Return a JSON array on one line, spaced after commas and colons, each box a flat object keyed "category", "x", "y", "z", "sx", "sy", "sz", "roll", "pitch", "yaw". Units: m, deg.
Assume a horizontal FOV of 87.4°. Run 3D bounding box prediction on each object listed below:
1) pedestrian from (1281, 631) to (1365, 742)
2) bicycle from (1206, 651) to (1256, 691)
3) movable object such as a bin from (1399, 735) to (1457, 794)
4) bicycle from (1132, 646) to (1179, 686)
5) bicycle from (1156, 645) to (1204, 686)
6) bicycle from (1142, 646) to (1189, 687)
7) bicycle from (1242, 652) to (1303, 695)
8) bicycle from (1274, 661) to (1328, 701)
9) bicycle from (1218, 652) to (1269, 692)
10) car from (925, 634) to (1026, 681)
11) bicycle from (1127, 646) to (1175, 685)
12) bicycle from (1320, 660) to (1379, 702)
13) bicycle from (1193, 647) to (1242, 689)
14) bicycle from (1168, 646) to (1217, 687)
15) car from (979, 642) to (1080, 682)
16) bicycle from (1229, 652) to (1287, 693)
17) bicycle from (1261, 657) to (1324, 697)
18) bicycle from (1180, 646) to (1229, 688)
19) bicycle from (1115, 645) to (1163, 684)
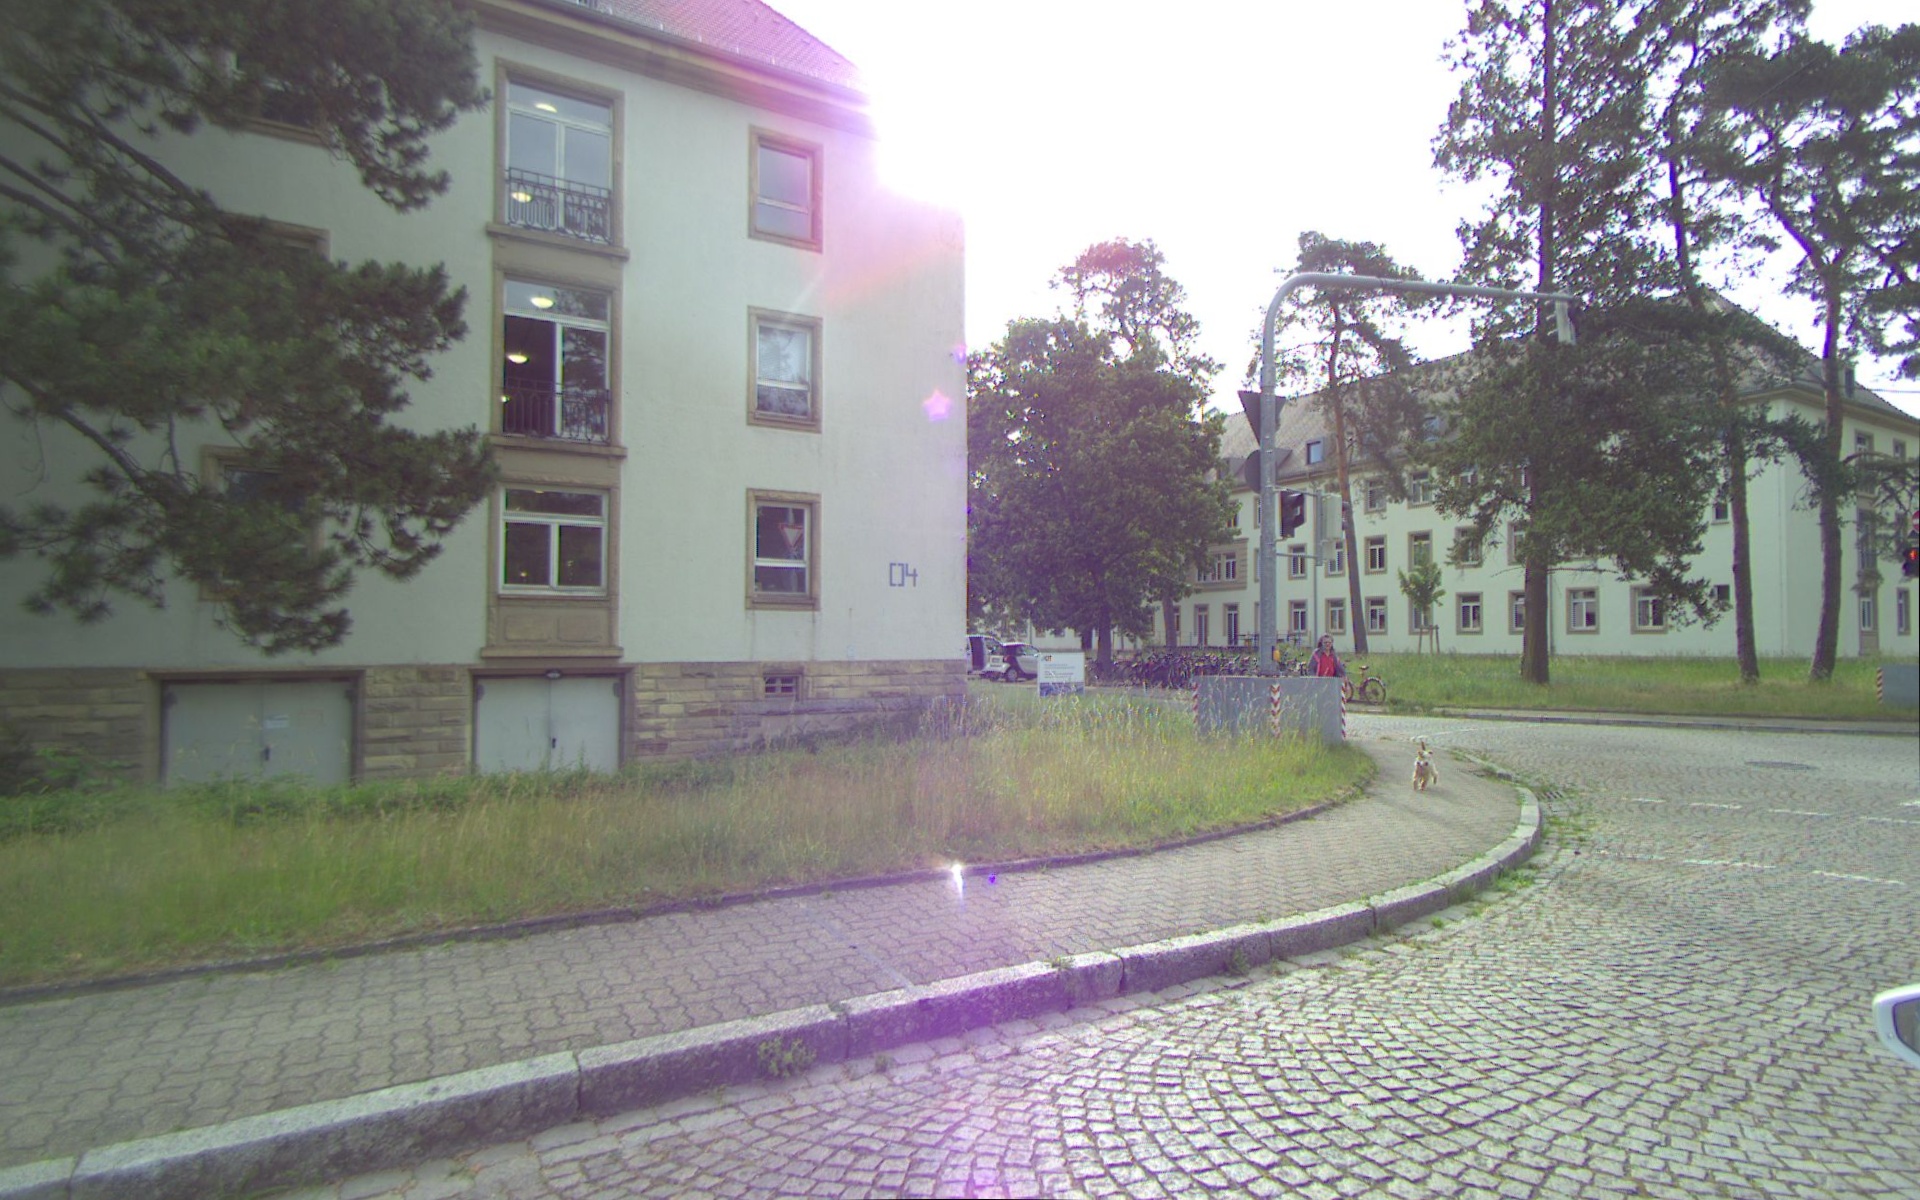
[{"category": "pedestrian", "x": 5.758, "y": 1.352, "z": 15.960, "sx": 0.924, "sy": 1.690, "sz": 0.860, "roll": 1, "pitch": -2, "yaw": -14}, {"category": "bicycle", "x": 8.280, "y": 2.146, "z": 30.618, "sx": 1.676, "sy": 1.193, "sz": 0.447, "roll": 2, "pitch": -3, "yaw": -32}, {"category": "movable object such as a bin", "x": 4.888, "y": 1.700, "z": 10.477, "sx": 0.437, "sy": 0.510, "sz": 0.750, "roll": -2, "pitch": -3, "yaw": 34}, {"category": "bicycle", "x": 6.544, "y": 2.190, "z": 33.589, "sx": 1.676, "sy": 1.300, "sz": 0.447, "roll": 2, "pitch": -3, "yaw": -32}, {"category": "bicycle", "x": 7.145, "y": 2.123, "z": 32.611, "sx": 1.676, "sy": 1.300, "sz": 0.447, "roll": 2, "pitch": -3, "yaw": -32}, {"category": "bicycle", "x": 6.794, "y": 2.184, "z": 33.173, "sx": 1.676, "sy": 1.300, "sz": 0.447, "roll": 2, "pitch": -3, "yaw": -32}, {"category": "bicycle", "x": 9.102, "y": 2.127, "z": 29.270, "sx": 1.932, "sy": 1.193, "sz": 0.572, "roll": 2, "pitch": -3, "yaw": -32}, {"category": "bicycle", "x": 9.029, "y": 2.123, "z": 26.627, "sx": 0.447, "sy": 1.009, "sz": 1.453, "roll": 1, "pitch": -3, "yaw": -28}, {"category": "bicycle", "x": 8.537, "y": 2.153, "z": 30.207, "sx": 1.676, "sy": 1.193, "sz": 0.447, "roll": 2, "pitch": -3, "yaw": -32}, {"category": "car", "x": 0.688, "y": 2.490, "z": 43.779, "sx": 4.087, "sy": 1.932, "sz": 1.831, "roll": 1, "pitch": -3, "yaw": -30}, {"category": "bicycle", "x": 6.479, "y": 2.203, "z": 34.099, "sx": 1.765, "sy": 1.300, "sz": 0.440, "roll": 2, "pitch": -3, "yaw": -32}, {"category": "bicycle", "x": 9.801, "y": 2.023, "z": 25.316, "sx": 0.447, "sy": 1.009, "sz": 1.453, "roll": 1, "pitch": -3, "yaw": -28}, {"category": "bicycle", "x": 8.018, "y": 2.105, "z": 31.293, "sx": 1.676, "sy": 1.300, "sz": 0.447, "roll": 2, "pitch": -3, "yaw": -32}, {"category": "bicycle", "x": 7.443, "y": 2.116, "z": 32.134, "sx": 1.676, "sy": 1.300, "sz": 0.447, "roll": 2, "pitch": -3, "yaw": -32}, {"category": "car", "x": 2.909, "y": 2.534, "z": 41.706, "sx": 3.851, "sy": 1.576, "sz": 1.831, "roll": 1, "pitch": -3, "yaw": -30}, {"category": "bicycle", "x": 8.838, "y": 2.135, "z": 29.792, "sx": 1.909, "sy": 1.193, "sz": 0.525, "roll": 2, "pitch": -3, "yaw": -32}, {"category": "bicycle", "x": 9.510, "y": 2.186, "z": 28.705, "sx": 1.974, "sy": 1.092, "sz": 0.572, "roll": 2, "pitch": -3, "yaw": -32}, {"category": "bicycle", "x": 7.734, "y": 2.111, "z": 31.710, "sx": 1.676, "sy": 1.300, "sz": 0.447, "roll": 2, "pitch": -3, "yaw": -32}, {"category": "bicycle", "x": 6.138, "y": 2.205, "z": 34.433, "sx": 1.807, "sy": 1.300, "sz": 0.447, "roll": 2, "pitch": -3, "yaw": -32}]
